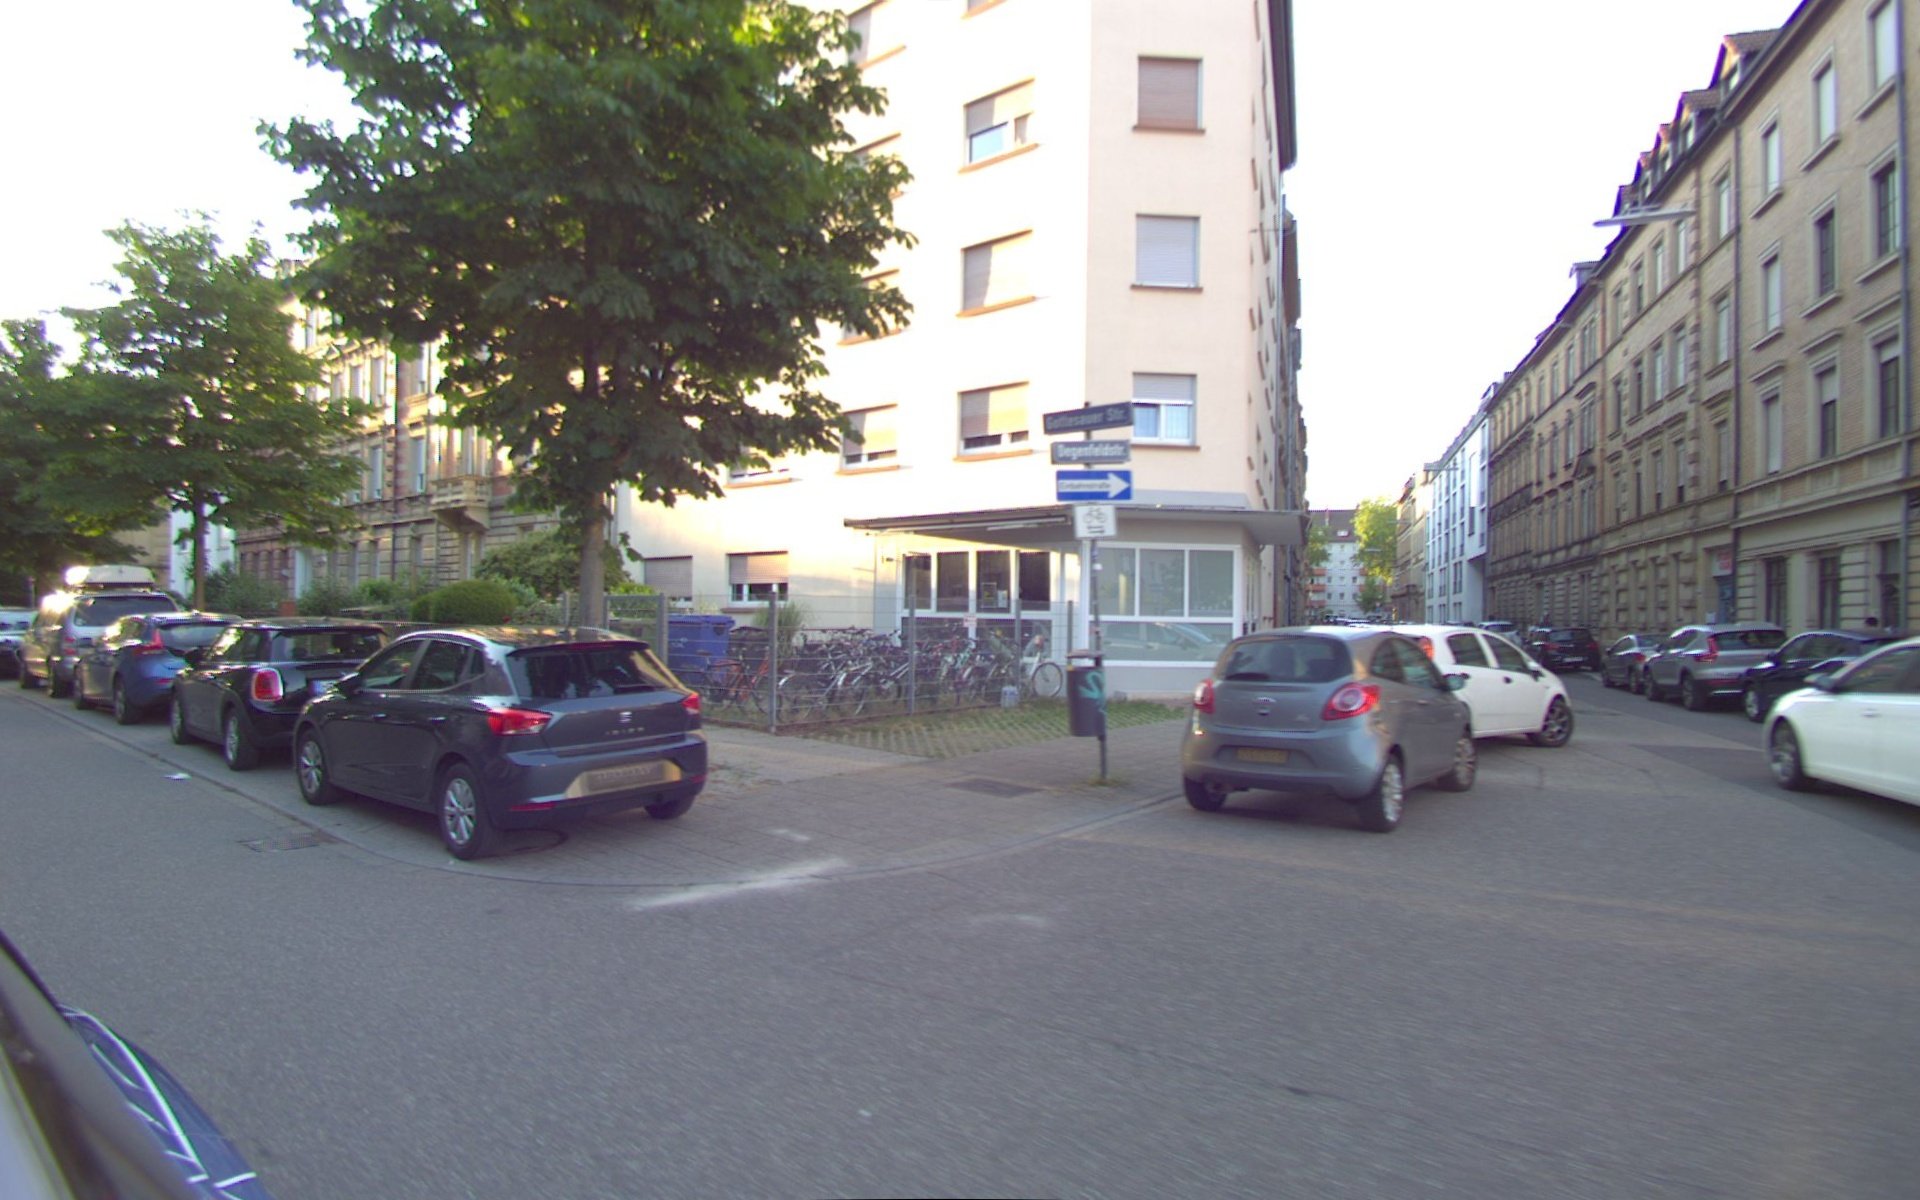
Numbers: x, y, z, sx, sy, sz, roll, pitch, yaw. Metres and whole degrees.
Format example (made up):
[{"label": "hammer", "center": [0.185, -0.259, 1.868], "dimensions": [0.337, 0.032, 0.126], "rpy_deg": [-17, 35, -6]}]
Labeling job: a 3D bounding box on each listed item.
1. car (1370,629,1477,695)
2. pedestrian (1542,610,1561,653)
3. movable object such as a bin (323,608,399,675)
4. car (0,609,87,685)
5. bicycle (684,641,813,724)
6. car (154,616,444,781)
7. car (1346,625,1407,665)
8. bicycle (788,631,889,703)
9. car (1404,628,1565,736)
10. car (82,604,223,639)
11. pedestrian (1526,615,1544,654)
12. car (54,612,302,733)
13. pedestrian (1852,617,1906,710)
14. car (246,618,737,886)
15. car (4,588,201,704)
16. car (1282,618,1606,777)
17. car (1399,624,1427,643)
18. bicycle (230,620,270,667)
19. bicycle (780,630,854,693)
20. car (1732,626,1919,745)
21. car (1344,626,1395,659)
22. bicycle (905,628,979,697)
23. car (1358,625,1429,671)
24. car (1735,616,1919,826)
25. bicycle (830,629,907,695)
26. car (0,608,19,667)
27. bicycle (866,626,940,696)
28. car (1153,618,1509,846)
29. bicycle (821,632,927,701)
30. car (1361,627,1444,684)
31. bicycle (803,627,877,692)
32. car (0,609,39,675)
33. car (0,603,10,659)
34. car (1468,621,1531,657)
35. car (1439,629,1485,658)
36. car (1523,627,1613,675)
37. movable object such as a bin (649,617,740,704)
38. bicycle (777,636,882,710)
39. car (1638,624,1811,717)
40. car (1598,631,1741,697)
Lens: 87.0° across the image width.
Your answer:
[{"label": "car", "center": [10.967, 1.423, 24.188], "dimensions": [1.859, 1.418, 3.976], "rpy_deg": [0, -2, 18]}, {"label": "pedestrian", "center": [25.627, 1.347, 43.839], "dimensions": [0.589, 1.820, 0.495], "rpy_deg": [0, 0, 18]}, {"label": "movable object such as a bin", "center": [-13.227, 0.882, 22.336], "dimensions": [1.549, 1.398, 0.937], "rpy_deg": [0, 0, 37]}, {"label": "car", "center": [-20.106, 0.933, 21.469], "dimensions": [4.020, 1.452, 1.711], "rpy_deg": [0, 0, 39]}, {"label": "bicycle", "center": [-3.028, 1.138, 14.403], "dimensions": [1.927, 1.033, 0.681], "rpy_deg": [0, 0, 35]}, {"label": "car", "center": [-7.379, 0.915, 11.131], "dimensions": [4.142, 1.431, 1.723], "rpy_deg": [0, 0, 43]}, {"label": "car", "center": [15.773, 1.667, 38.497], "dimensions": [1.808, 1.418, 3.976], "rpy_deg": [0, -1, 18]}, {"label": "bicycle", "center": [-1.922, 1.060, 16.083], "dimensions": [1.528, 1.100, 0.500], "rpy_deg": [0, 0, 3]}, {"label": "car", "center": [8.183, 1.191, 16.140], "dimensions": [1.986, 1.450, 4.047], "rpy_deg": [0, -2, 23]}, {"label": "car", "center": [-33.410, 0.859, 41.974], "dimensions": [1.625, 1.351, 4.356], "rpy_deg": [0, 0, 41]}, {"label": "pedestrian", "center": [25.014, 1.494, 44.009], "dimensions": [0.589, 1.699, 0.495], "rpy_deg": [0, 0, 18]}, {"label": "car", "center": [-11.290, 0.912, 14.486], "dimensions": [4.586, 1.423, 1.843], "rpy_deg": [0, 0, 40]}, {"label": "pedestrian", "center": [17.267, 1.174, 19.026], "dimensions": [0.589, 1.699, 0.495], "rpy_deg": [0, 0, 18]}, {"label": "car", "center": [-3.821, 0.909, 7.869], "dimensions": [4.458, 1.472, 1.658], "rpy_deg": [0, 0, 39]}, {"label": "car", "center": [-15.096, 0.708, 17.736], "dimensions": [4.619, 1.792, 1.843], "rpy_deg": [0, 0, 40]}, {"label": "car", "center": [5.972, 1.033, 12.348], "dimensions": [4.007, 1.520, 1.978], "rpy_deg": [0, 0, -38]}, {"label": "car", "center": [36.891, 2.699, 82.529], "dimensions": [1.774, 1.470, 3.974], "rpy_deg": [0, -1, 20]}, {"label": "bicycle", "center": [-17.918, 1.069, 25.516], "dimensions": [1.633, 1.118, 0.451], "rpy_deg": [0, 0, 41]}, {"label": "bicycle", "center": [-2.685, 1.145, 19.191], "dimensions": [0.499, 1.100, 1.531], "rpy_deg": [0, 0, 34]}, {"label": "car", "center": [13.824, 1.202, 15.372], "dimensions": [2.005, 1.583, 3.898], "rpy_deg": [0, -1, 16]}, {"label": "car", "center": [19.115, 1.956, 47.407], "dimensions": [1.914, 1.418, 3.976], "rpy_deg": [0, -1, 18]}, {"label": "bicycle", "center": [-0.289, 1.063, 17.659], "dimensions": [0.499, 1.100, 1.531], "rpy_deg": [-1, 0, 34]}, {"label": "car", "center": [14.426, 1.563, 33.869], "dimensions": [1.808, 1.418, 3.976], "rpy_deg": [0, -1, 18]}, {"label": "car", "center": [7.995, 0.913, 7.572], "dimensions": [1.804, 1.534, 4.577], "rpy_deg": [1, -1, 14]}, {"label": "bicycle", "center": [-1.661, 1.112, 18.545], "dimensions": [0.499, 1.100, 1.617], "rpy_deg": [0, 0, 34]}, {"label": "car", "center": [-26.735, 0.985, 27.329], "dimensions": [3.625, 1.510, 1.660], "rpy_deg": [0, 0, 42]}, {"label": "bicycle", "center": [-0.998, 1.063, 18.051], "dimensions": [0.499, 1.150, 1.531], "rpy_deg": [0, 0, 34]}, {"label": "car", "center": [3.333, 0.919, 8.729], "dimensions": [1.843, 1.519, 3.471], "rpy_deg": [-1, -1, 39]}, {"label": "bicycle", "center": [-1.400, 1.073, 16.501], "dimensions": [1.689, 1.100, 0.384], "rpy_deg": [0, 0, 4]}, {"label": "car", "center": [12.571, 1.520, 28.948], "dimensions": [1.773, 1.478, 3.976], "rpy_deg": [0, -1, 18]}, {"label": "bicycle", "center": [-2.210, 1.087, 18.858], "dimensions": [0.499, 1.100, 1.531], "rpy_deg": [0, 0, 34]}, {"label": "car", "center": [-23.661, 0.986, 24.565], "dimensions": [3.295, 1.505, 1.423], "rpy_deg": [0, 0, 39]}, {"label": "car", "center": [-30.646, 0.925, 31.012], "dimensions": [4.019, 1.675, 1.842], "rpy_deg": [0, 0, 41]}, {"label": "car", "center": [24.766, 1.769, 46.574], "dimensions": [1.875, 1.569, 3.975], "rpy_deg": [0, -1, 19]}, {"label": "car", "center": [27.602, 2.362, 55.775], "dimensions": [1.774, 1.470, 3.974], "rpy_deg": [0, -1, 20]}, {"label": "car", "center": [20.033, 1.649, 33.512], "dimensions": [1.774, 1.470, 3.974], "rpy_deg": [0, -1, 20]}, {"label": "movable object such as a bin", "center": [-4.473, 0.976, 17.032], "dimensions": [1.398, 1.362, 0.857], "rpy_deg": [0, 0, 42]}, {"label": "bicycle", "center": [-1.997, 1.114, 15.569], "dimensions": [1.528, 1.100, 0.500], "rpy_deg": [0, 0, 3]}, {"label": "car", "center": [15.019, 1.306, 20.122], "dimensions": [1.572, 1.635, 3.974], "rpy_deg": [0, -1, 20]}, {"label": "car", "center": [17.222, 1.499, 24.795], "dimensions": [1.830, 1.438, 3.974], "rpy_deg": [0, -1, 20]}]
